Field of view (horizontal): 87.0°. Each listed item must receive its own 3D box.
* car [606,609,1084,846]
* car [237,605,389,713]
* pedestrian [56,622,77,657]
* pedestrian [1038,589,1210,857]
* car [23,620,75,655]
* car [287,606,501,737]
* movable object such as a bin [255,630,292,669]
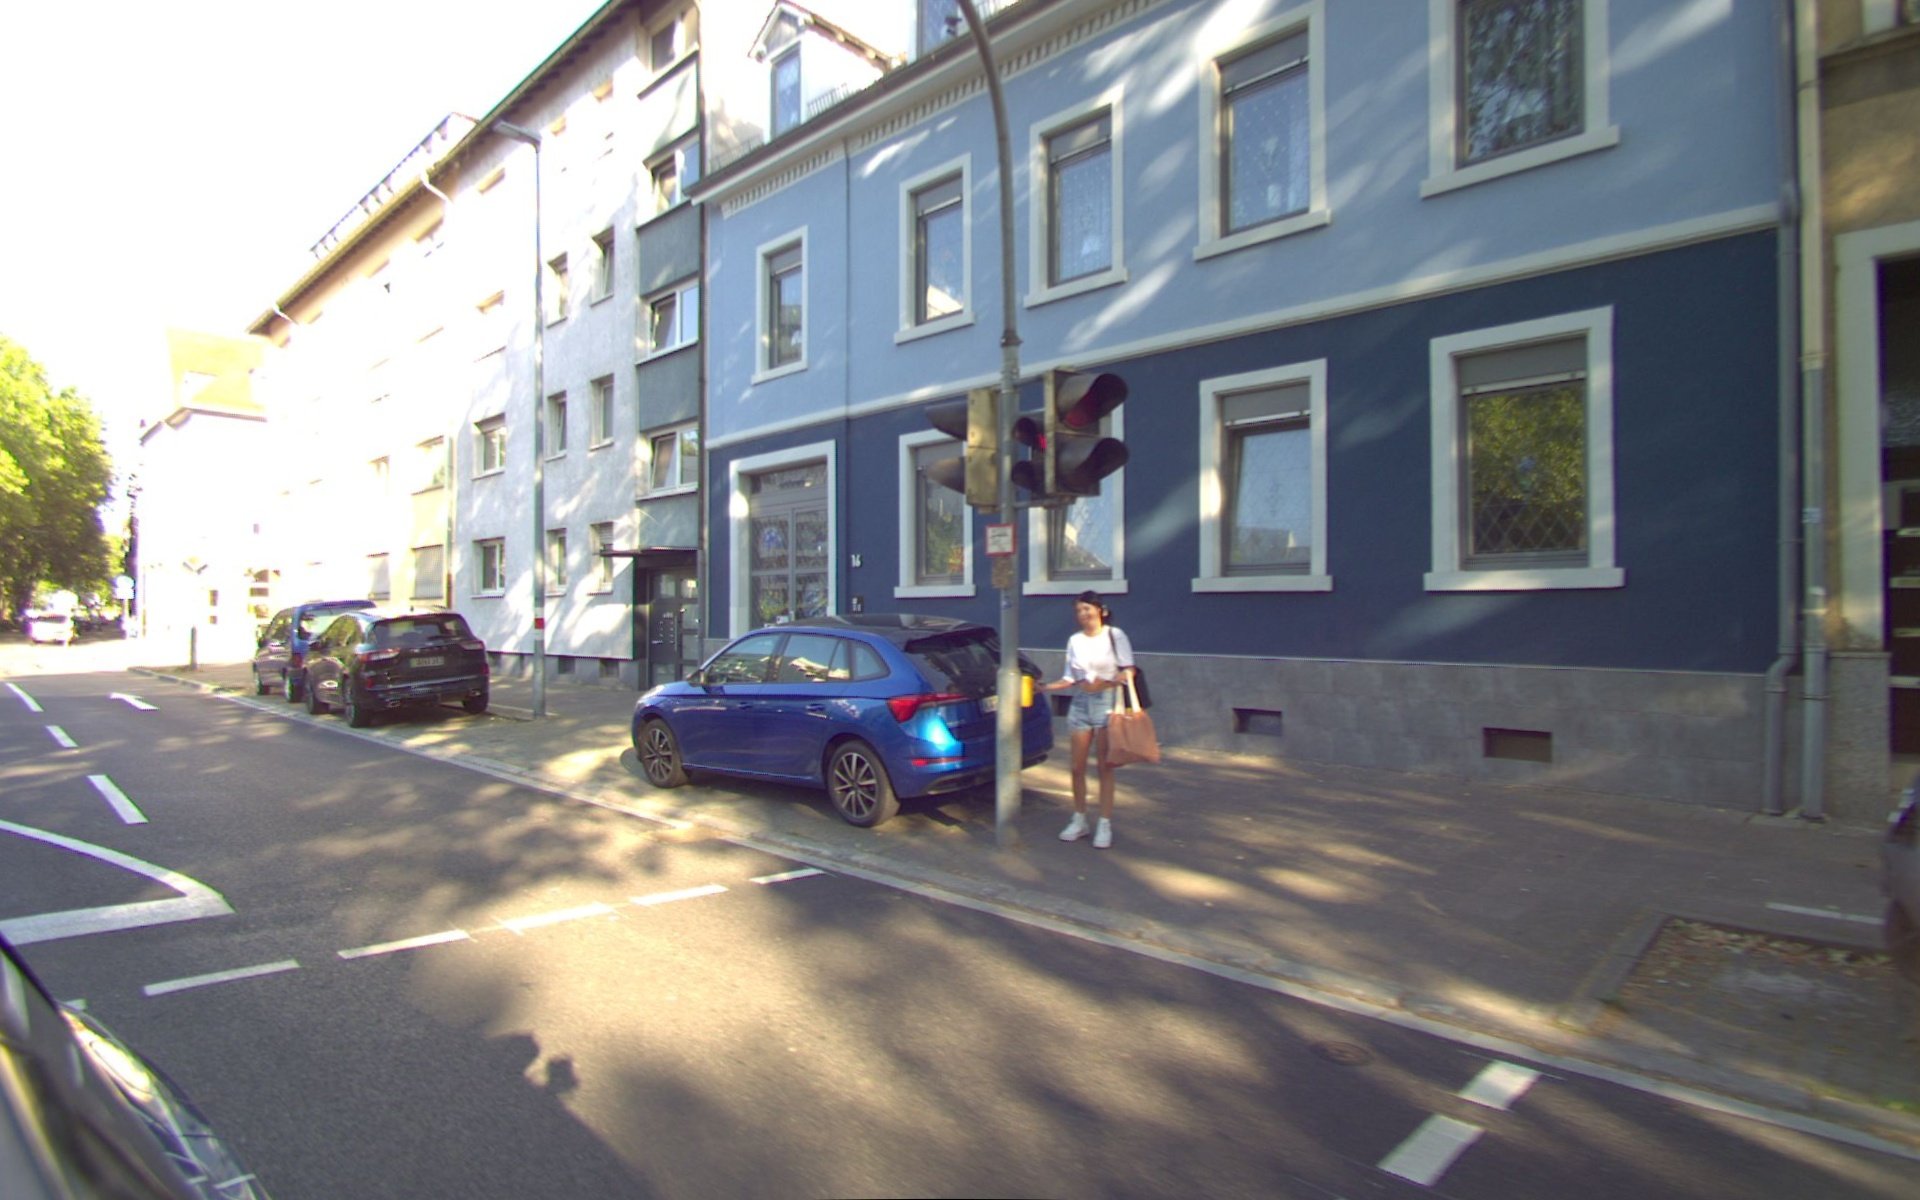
[{"bbox_3d":[-1.173,0.873,8.617,4.262,1.498,1.632,-1,0,42],"label":"car"},{"bbox_3d":[-12.587,1.061,19.587,1.645,1.832,4.007,-1,0,-45],"label":"car"},{"bbox_3d":[-44.427,1.945,50.308,0.663,1.725,0.714,2,-3,-36],"label":"pedestrian"},{"bbox_3d":[1.058,0.737,6.534,0.852,1.582,0.707,1,-2,-41],"label":"pedestrian"},{"bbox_3d":[-48.491,1.963,53.844,1.871,1.806,4.002,2,-2,-45],"label":"car"},{"bbox_3d":[-8.862,0.980,15.648,1.883,1.685,4.497,-1,0,-43],"label":"car"},{"bbox_3d":[-23.812,1.702,35.106,1.018,1.296,1.064,1,-2,-35],"label":"movable object such as a bin"}]
